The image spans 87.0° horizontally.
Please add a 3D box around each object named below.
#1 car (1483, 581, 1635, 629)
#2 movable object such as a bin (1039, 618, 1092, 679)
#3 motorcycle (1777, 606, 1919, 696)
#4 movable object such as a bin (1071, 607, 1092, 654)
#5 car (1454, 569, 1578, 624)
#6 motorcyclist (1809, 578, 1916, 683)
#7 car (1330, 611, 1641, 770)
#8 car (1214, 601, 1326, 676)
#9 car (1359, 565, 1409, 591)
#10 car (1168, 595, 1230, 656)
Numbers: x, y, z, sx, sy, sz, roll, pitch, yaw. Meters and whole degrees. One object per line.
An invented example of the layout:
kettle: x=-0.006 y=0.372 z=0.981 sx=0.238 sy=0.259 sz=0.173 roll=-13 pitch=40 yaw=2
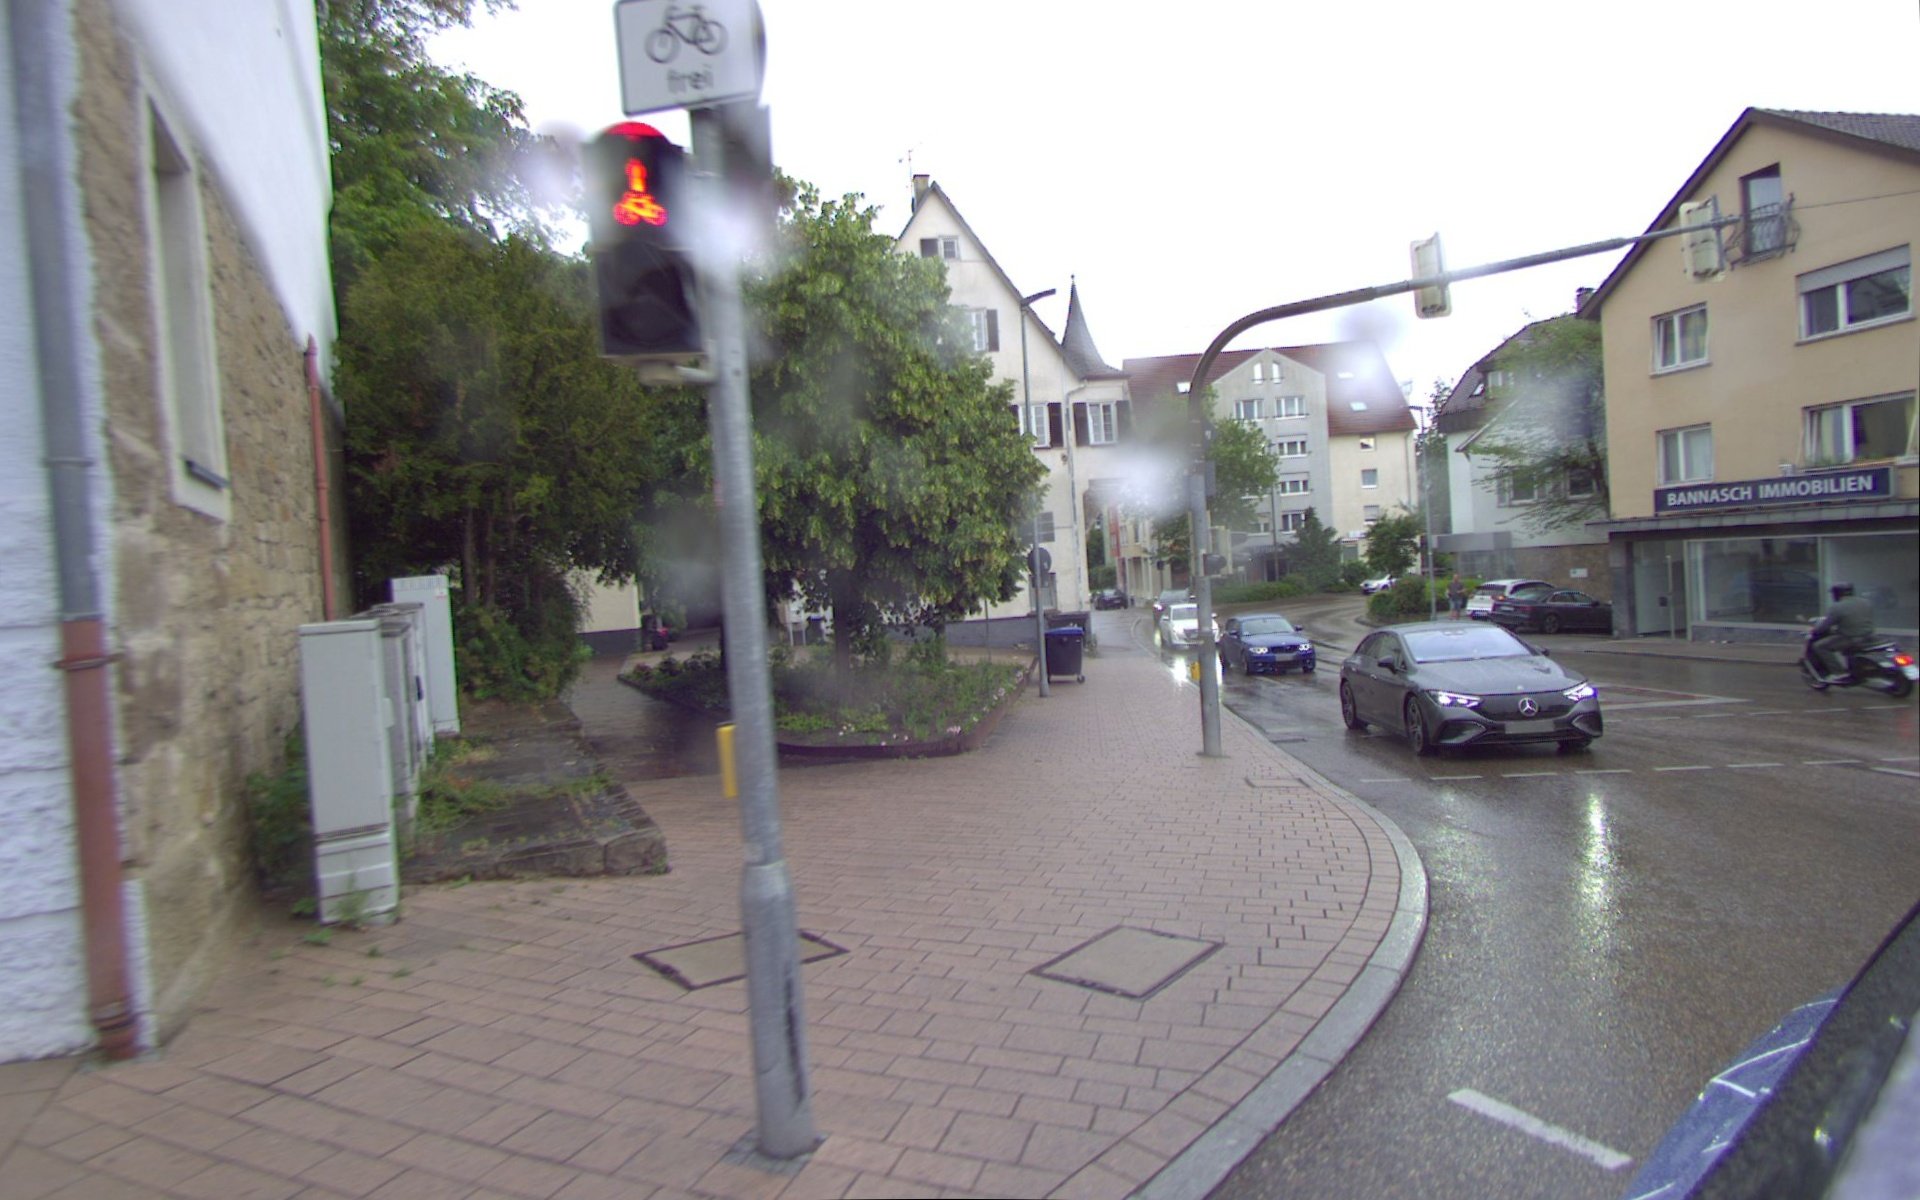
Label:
car: x=19.311 y=0.157 z=32.679 sx=3.917 sy=1.471 sz=1.904 roll=0 pitch=2 yaw=-11
movable object such as a bin: x=2.584 y=1.178 z=24.676 sx=1.140 sy=1.329 sz=1.183 roll=-4 pitch=1 yaw=10
motorcycle: x=12.754 y=0.673 z=14.257 sx=0.755 sy=1.145 sz=1.918 roll=-3 pitch=0 yaw=-6
movable object such as a bin: x=3.830 y=0.948 z=31.910 sx=0.404 sy=1.460 sz=0.645 roll=1 pitch=-1 yaw=-19
car: x=19.789 y=-0.132 z=36.049 sx=3.571 sy=1.649 sz=2.004 roll=-4 pitch=1 yaw=-22
motorcyclist: x=12.732 y=0.421 z=14.287 sx=0.795 sy=1.371 sz=0.669 roll=-5 pitch=-1 yaw=-6
car: x=6.375 y=0.998 z=12.938 sx=1.965 sy=1.512 sz=4.307 roll=-3 pitch=0 yaw=6
car: x=7.916 y=0.924 z=26.245 sx=1.743 sy=1.551 sz=4.375 roll=-4 pitch=2 yaw=4
car: x=28.316 y=-1.445 z=67.528 sx=1.991 sy=1.594 sz=3.941 roll=0 pitch=-1 yaw=41
car: x=8.397 y=0.837 z=35.865 sx=1.785 sy=1.583 sz=3.995 roll=-2 pitch=6 yaw=9
